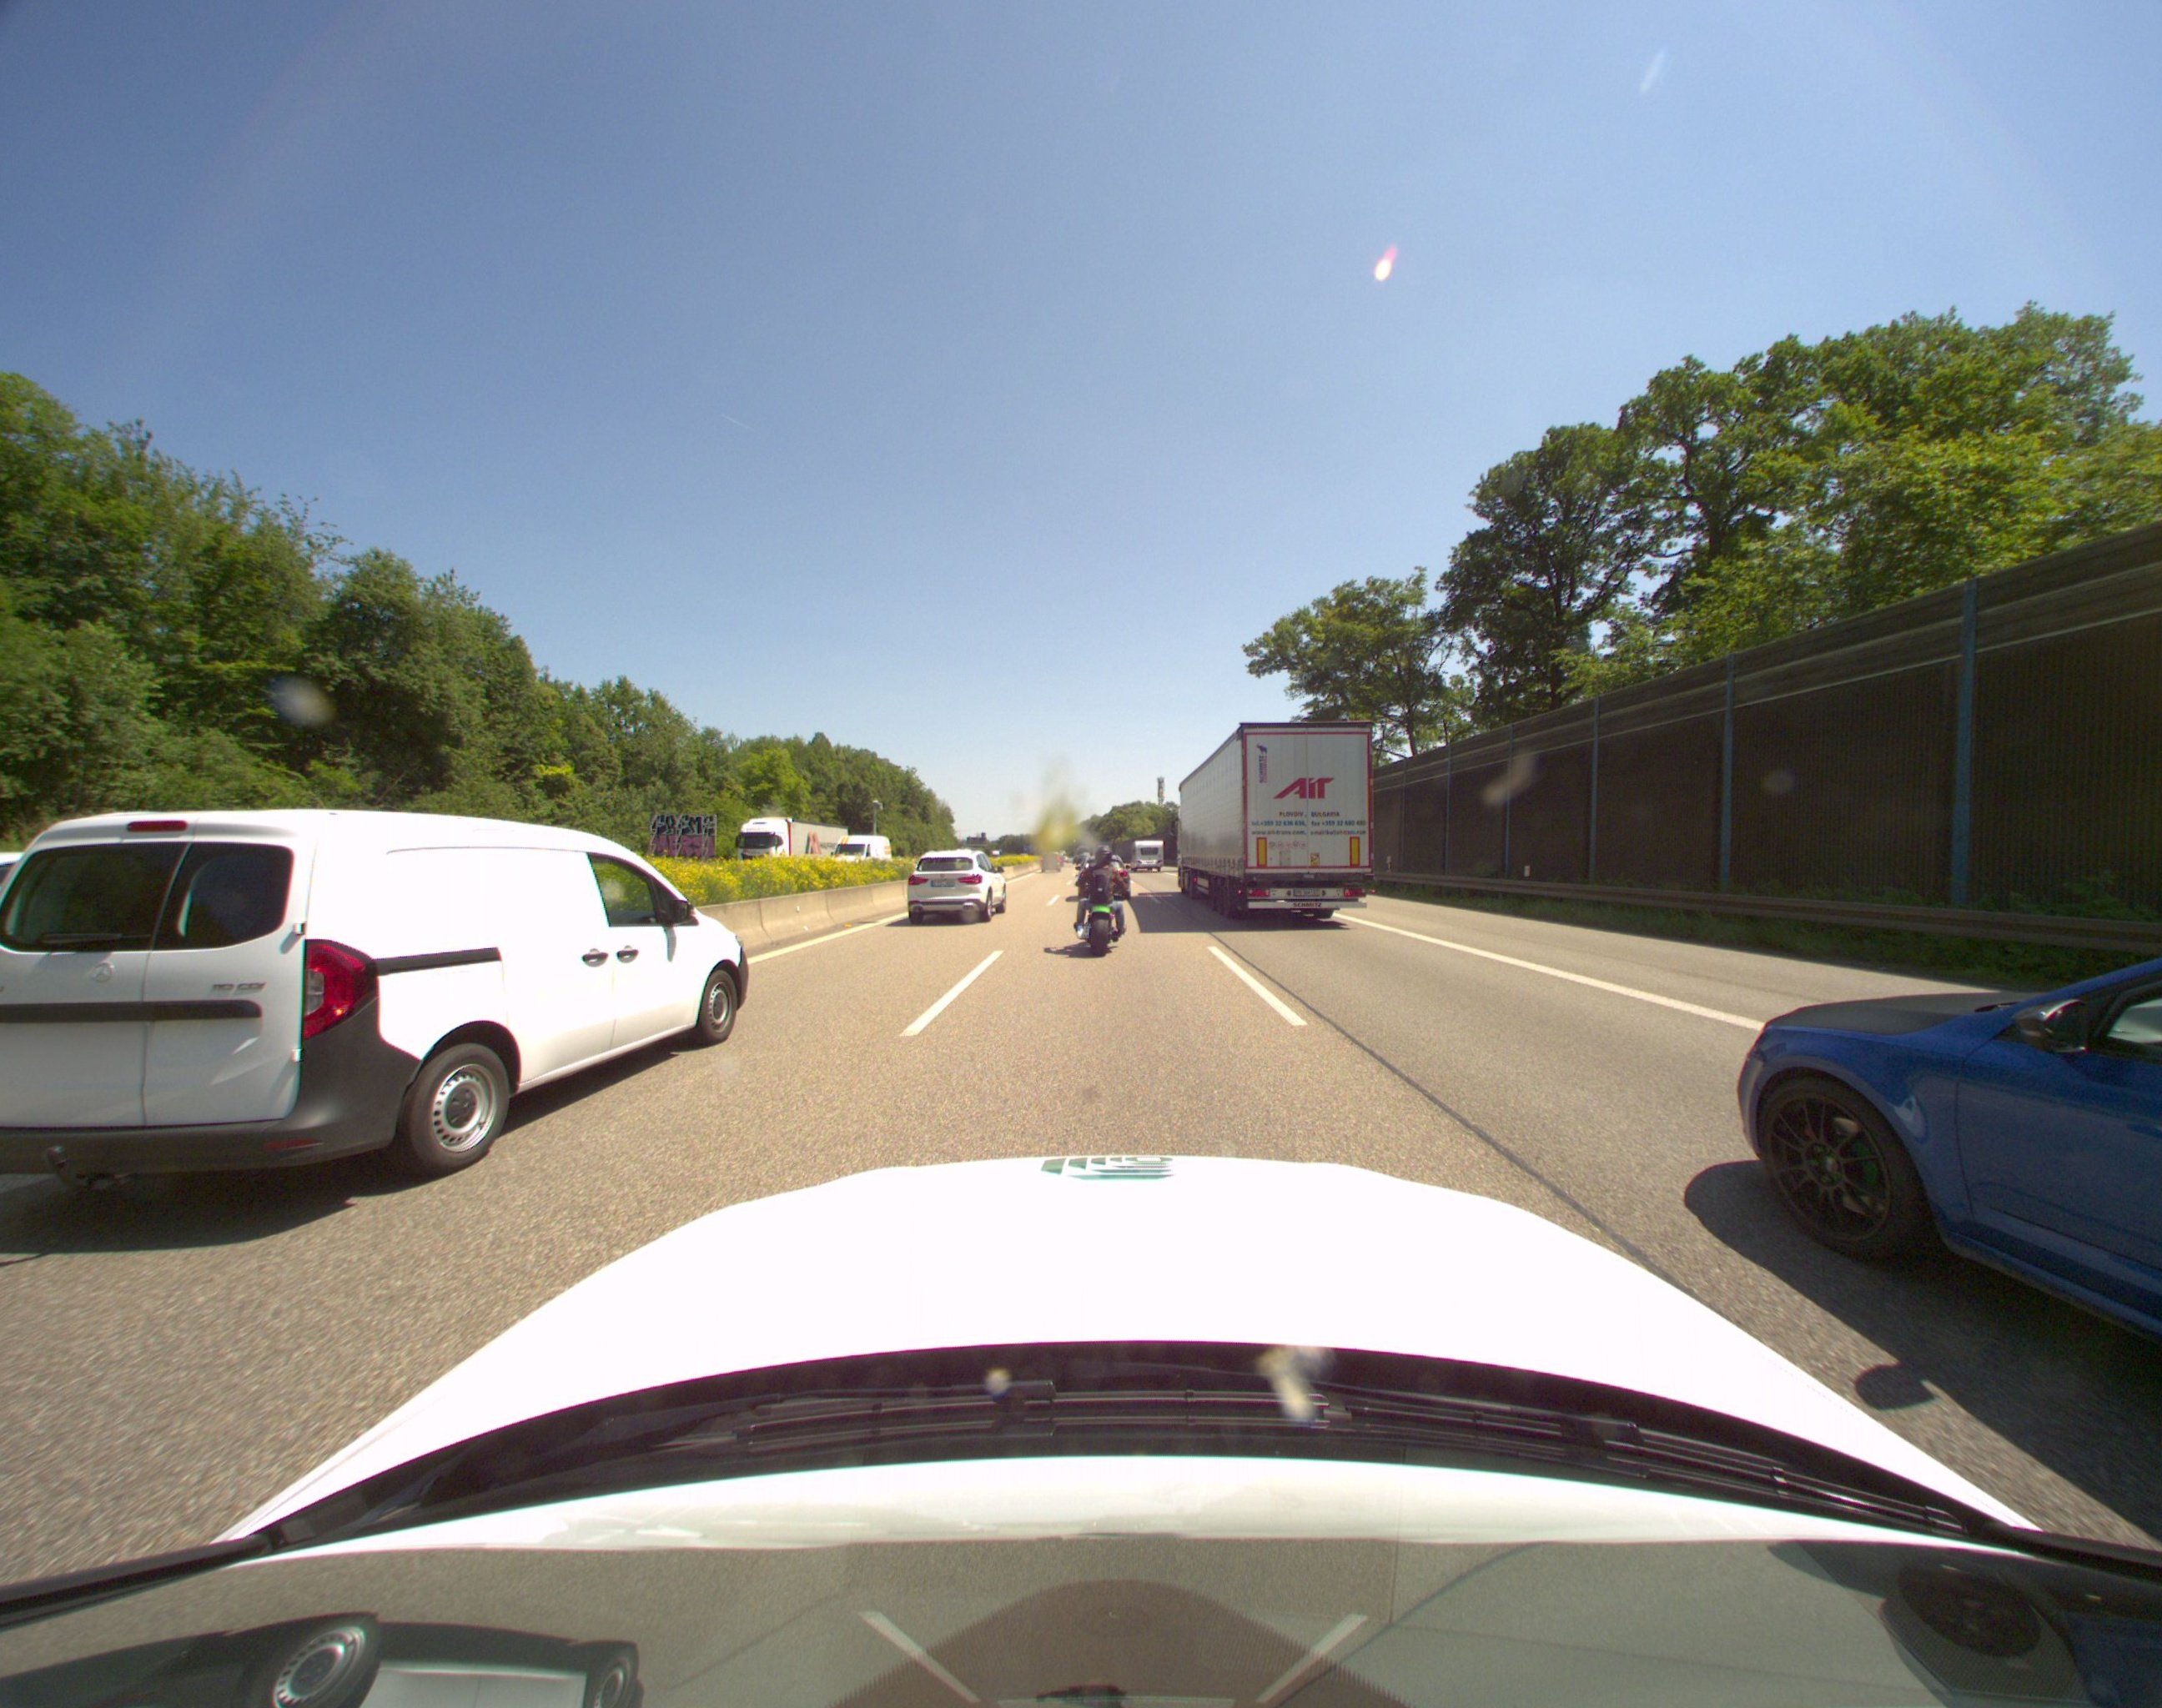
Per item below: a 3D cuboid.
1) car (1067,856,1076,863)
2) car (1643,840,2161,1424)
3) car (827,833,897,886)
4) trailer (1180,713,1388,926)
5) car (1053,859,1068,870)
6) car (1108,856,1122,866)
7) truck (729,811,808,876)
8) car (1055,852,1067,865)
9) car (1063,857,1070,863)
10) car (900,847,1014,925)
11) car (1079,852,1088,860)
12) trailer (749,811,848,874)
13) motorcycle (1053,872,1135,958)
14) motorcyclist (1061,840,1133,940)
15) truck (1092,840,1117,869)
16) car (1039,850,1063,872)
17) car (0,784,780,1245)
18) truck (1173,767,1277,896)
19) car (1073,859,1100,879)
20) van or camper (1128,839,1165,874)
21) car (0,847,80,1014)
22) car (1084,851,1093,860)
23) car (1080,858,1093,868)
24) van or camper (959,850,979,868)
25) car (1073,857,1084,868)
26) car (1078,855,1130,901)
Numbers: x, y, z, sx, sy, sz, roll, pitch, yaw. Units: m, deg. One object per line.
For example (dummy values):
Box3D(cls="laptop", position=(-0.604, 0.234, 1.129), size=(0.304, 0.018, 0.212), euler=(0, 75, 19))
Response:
Box3D(cls="car", position=(-2.144, 1.157, 184.649), size=(1.827, 1.496, 3.741), euler=(-1, -1, -1))
Box3D(cls="car", position=(3.551, 0.688, 1.746), size=(1.644, 1.483, 4.482), euler=(-1, -1, 1))
Box3D(cls="car", position=(-13.104, 0.314, 49.317), size=(2.061, 2.896, 7.463), euler=(-1, 0, 1))
Box3D(cls="trailer", position=(4.733, -0.649, 22.518), size=(2.874, 4.038, 13.804), euler=(-1, 0, 3))
Box3D(cls="car", position=(-2.736, 1.436, 110.496), size=(1.987, 1.387, 3.999), euler=(-1, -1, 0))
Box3D(cls="car", position=(5.267, 1.102, 125.212), size=(1.987, 1.574, 3.999), euler=(-1, -1, 0))
Box3D(cls="truck", position=(-20.952, -0.581, 54.934), size=(2.955, 4.107, 6.086), euler=(-1, -1, -1))
Box3D(cls="car", position=(-3.112, 0.774, 129.712), size=(1.785, 2.014, 3.641), euler=(-1, -1, 0))
Box3D(cls="car", position=(-4.041, 1.560, 220.467), size=(1.828, 1.496, 3.739), euler=(-1, -1, -3))
Box3D(cls="car", position=(-2.930, 0.715, 20.373), size=(1.857, 1.694, 4.959), euler=(-1, 0, 2))
Box3D(cls="car", position=(0.502, 0.543, 199.827), size=(2.102, 1.876, 3.997), euler=(-1, -1, -1))
Box3D(cls="trailer", position=(-20.959, -0.618, 61.507), size=(2.917, 4.232, 13.060), euler=(-1, -1, 0))
Box3D(cls="motorcycle", position=(0.273, 0.901, 13.023), size=(0.959, 1.148, 2.818), euler=(0, 0, 8))
Box3D(cls="motorcyclist", position=(0.289, 0.552, 12.967), size=(0.894, 1.475, 1.876), euler=(-1, -1, 8))
Box3D(cls="truck", position=(4.127, 0.133, 144.561), size=(3.792, 4.960, 8.944), euler=(-1, -1, -2))
Box3D(cls="car", position=(-2.747, 0.674, 74.973), size=(1.892, 1.874, 4.414), euler=(-1, -1, 2))
Box3D(cls="car", position=(-3.873, 0.655, 5.586), size=(1.758, 1.813, 4.675), euler=(-1, 0, 1))
Box3D(cls="truck", position=(5.021, -0.721, 29.501), size=(2.874, 4.146, 5.989), euler=(-1, 0, 2))
Box3D(cls="car", position=(0.473, 1.133, 62.185), size=(1.986, 1.430, 3.847), euler=(-1, -1, 1))
Box3D(cls="van or camper", position=(5.509, 0.248, 69.320), size=(2.675, 2.813, 6.804), euler=(-1, -1, 1))
Box3D(cls="car", position=(-14.010, 0.909, 8.595), size=(1.872, 2.014, 4.000), euler=(-1, -1, 1))
Box3D(cls="car", position=(1.824, 0.404, 194.269), size=(2.102, 1.876, 3.997), euler=(-1, -1, -2))
Box3D(cls="car", position=(0.817, 1.477, 130.743), size=(1.988, 1.640, 3.997), euler=(-1, -1, -1))
Box3D(cls="van or camper", position=(-16.740, 0.737, 121.961), size=(2.078, 2.701, 6.151), euler=(-1, 0, 0))
Box3D(cls="car", position=(-0.537, 1.660, 161.411), size=(1.908, 2.014, 3.685), euler=(-1, -1, -4))
Box3D(cls="car", position=(0.822, 0.805, 28.132), size=(1.656, 1.453, 3.870), euler=(-1, -1, 2))
